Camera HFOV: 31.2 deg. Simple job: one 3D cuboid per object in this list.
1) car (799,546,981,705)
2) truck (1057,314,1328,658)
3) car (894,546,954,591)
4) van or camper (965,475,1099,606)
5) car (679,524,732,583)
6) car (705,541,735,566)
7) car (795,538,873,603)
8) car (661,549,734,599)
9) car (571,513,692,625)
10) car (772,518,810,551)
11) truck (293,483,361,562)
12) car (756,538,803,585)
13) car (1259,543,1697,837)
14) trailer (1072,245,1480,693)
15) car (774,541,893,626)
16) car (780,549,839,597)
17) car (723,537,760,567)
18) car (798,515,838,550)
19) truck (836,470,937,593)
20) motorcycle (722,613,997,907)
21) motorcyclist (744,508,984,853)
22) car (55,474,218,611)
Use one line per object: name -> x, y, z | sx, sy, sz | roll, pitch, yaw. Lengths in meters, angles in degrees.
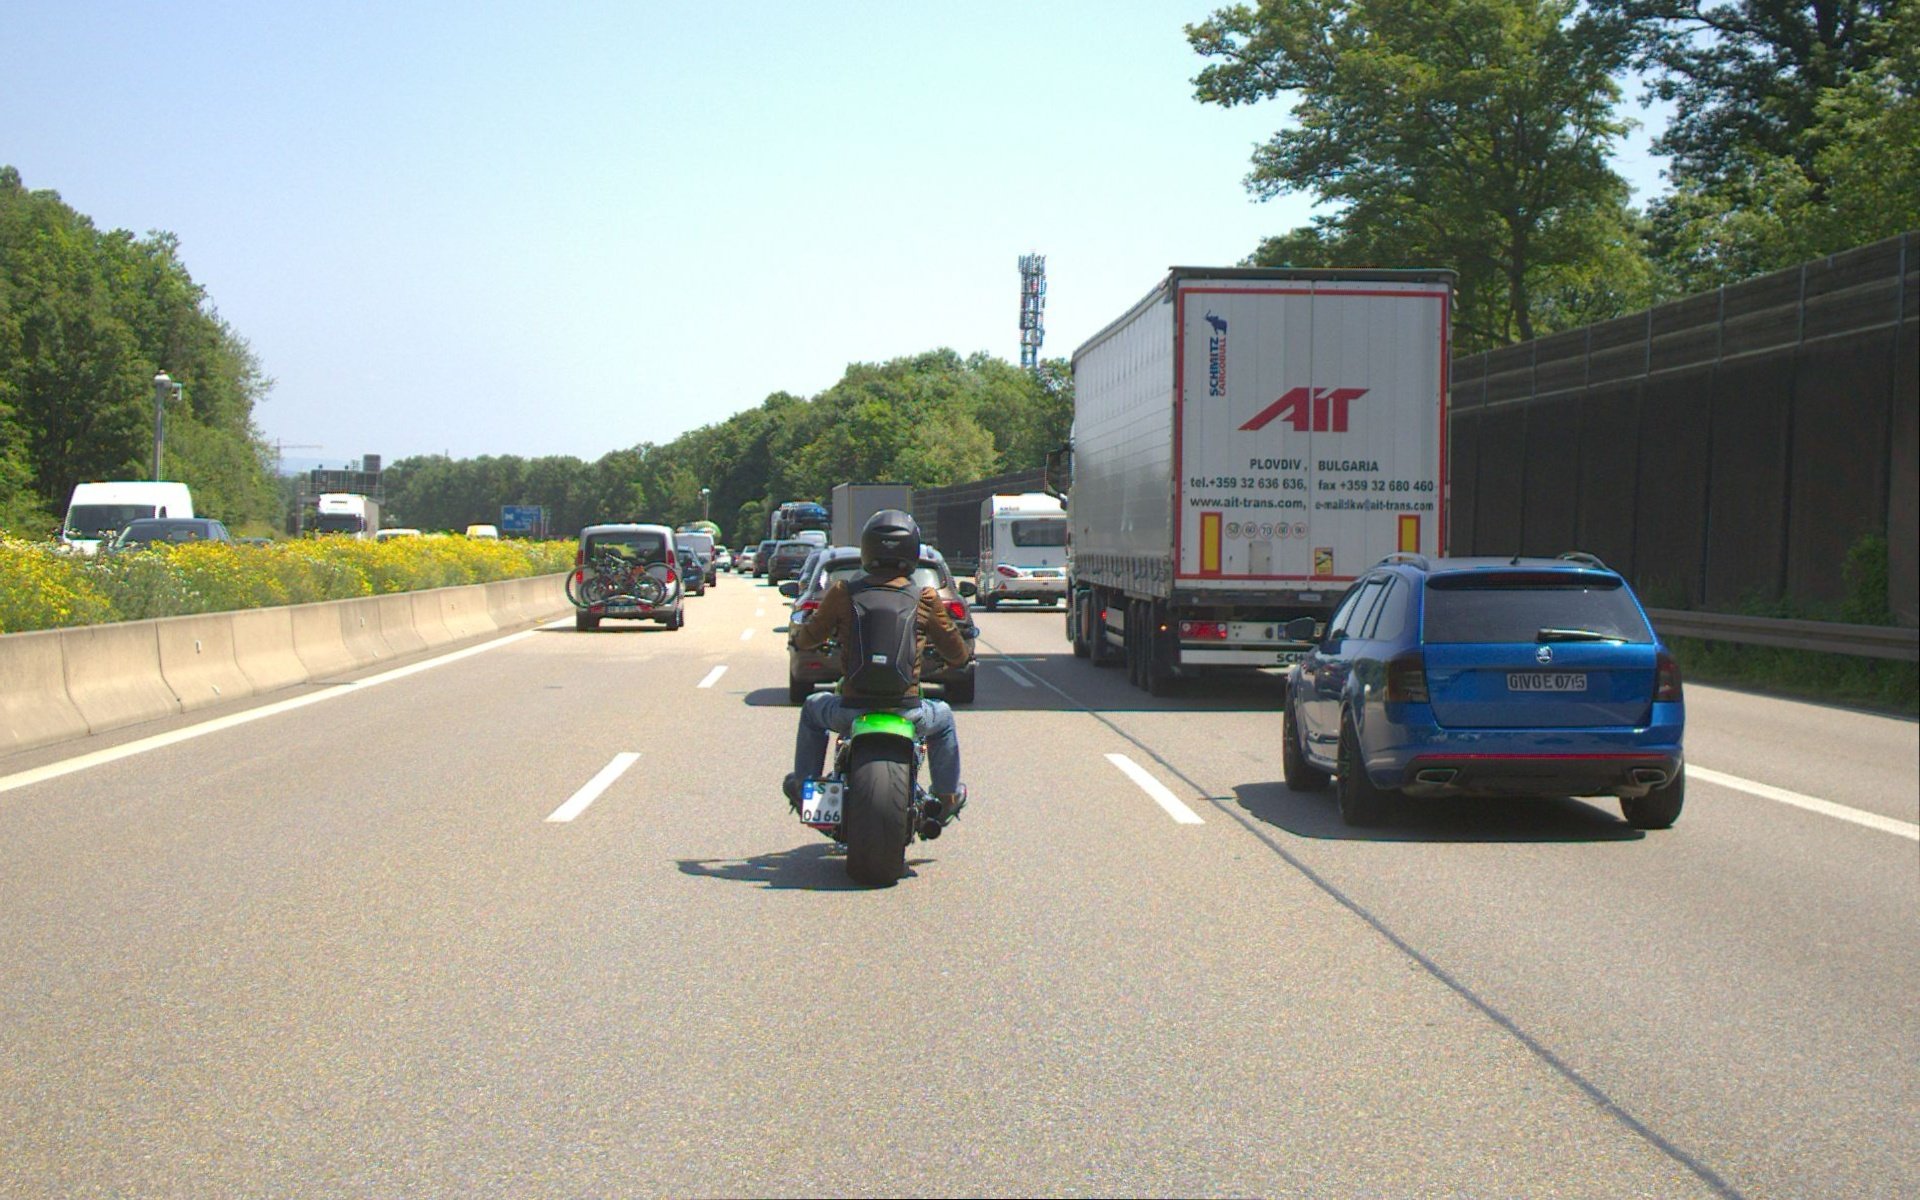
car -> -0.712, 0.242, 33.485 | 1.662, 1.448, 3.869 | 0, 0, -2
truck -> 2.888, -1.414, 44.475 | 2.885, 4.132, 5.986 | 0, 1, -2
car -> -1.334, -1.134, 125.936 | 1.993, 1.569, 4.000 | 0, 0, -3
van or camper -> 1.576, -1.284, 78.100 | 2.685, 2.803, 6.803 | 0, 0, -2
car -> -8.908, -1.602, 120.439 | 1.791, 2.007, 3.642 | 0, 0, -4
car -> -15.278, -2.957, 219.112 | 1.832, 1.491, 3.744 | 0, 0, -5
car -> -3.096, -0.744, 84.997 | 1.779, 1.546, 3.585 | 1, 1, 0
car -> -7.508, -0.736, 98.498 | 1.993, 1.382, 4.000 | 0, 0, -3
car -> -5.679, -0.516, 59.816 | 1.899, 1.867, 4.413 | 0, 0, -3
car -> -9.886, -3.811, 200.563 | 2.107, 1.870, 4.000 | 0, 0, -4
truck -> -34.404, -4.192, 186.938 | 2.963, 4.093, 6.089 | 0, 0, -4
car -> -7.970, -1.667, 151.688 | 1.911, 2.007, 3.691 | 0, 0, -5
car -> 2.815, 0.461, 19.618 | 1.650, 1.477, 4.482 | 0, 0, -2
trailer -> 3.082, -1.281, 38.007 | 2.885, 4.025, 13.796 | 0, 1, -1
car -> -2.172, -0.268, 59.950 | 1.993, 1.425, 3.847 | 0, 0, -1
car -> -5.340, -0.945, 121.534 | 1.993, 1.634, 4.000 | 0, 0, -4
car -> -11.262, -2.450, 177.000 | 1.832, 1.491, 3.744 | 0, 0, -3
car -> -8.066, -3.821, 195.395 | 2.107, 1.870, 4.000 | 0, 0, -5
truck -> -3.142, -2.783, 144.581 | 3.802, 4.943, 8.952 | 0, 0, -4
motorcycle -> -0.401, 0.666, 15.617 | 0.965, 1.144, 2.811 | 1, 1, 4
motorcyclist -> -0.405, 0.347, 15.632 | 0.900, 1.470, 1.872 | 0, 0, 4
car -> -17.163, -1.204, 71.941 | 2.200, 2.732, 5.748 | 0, 1, -2
